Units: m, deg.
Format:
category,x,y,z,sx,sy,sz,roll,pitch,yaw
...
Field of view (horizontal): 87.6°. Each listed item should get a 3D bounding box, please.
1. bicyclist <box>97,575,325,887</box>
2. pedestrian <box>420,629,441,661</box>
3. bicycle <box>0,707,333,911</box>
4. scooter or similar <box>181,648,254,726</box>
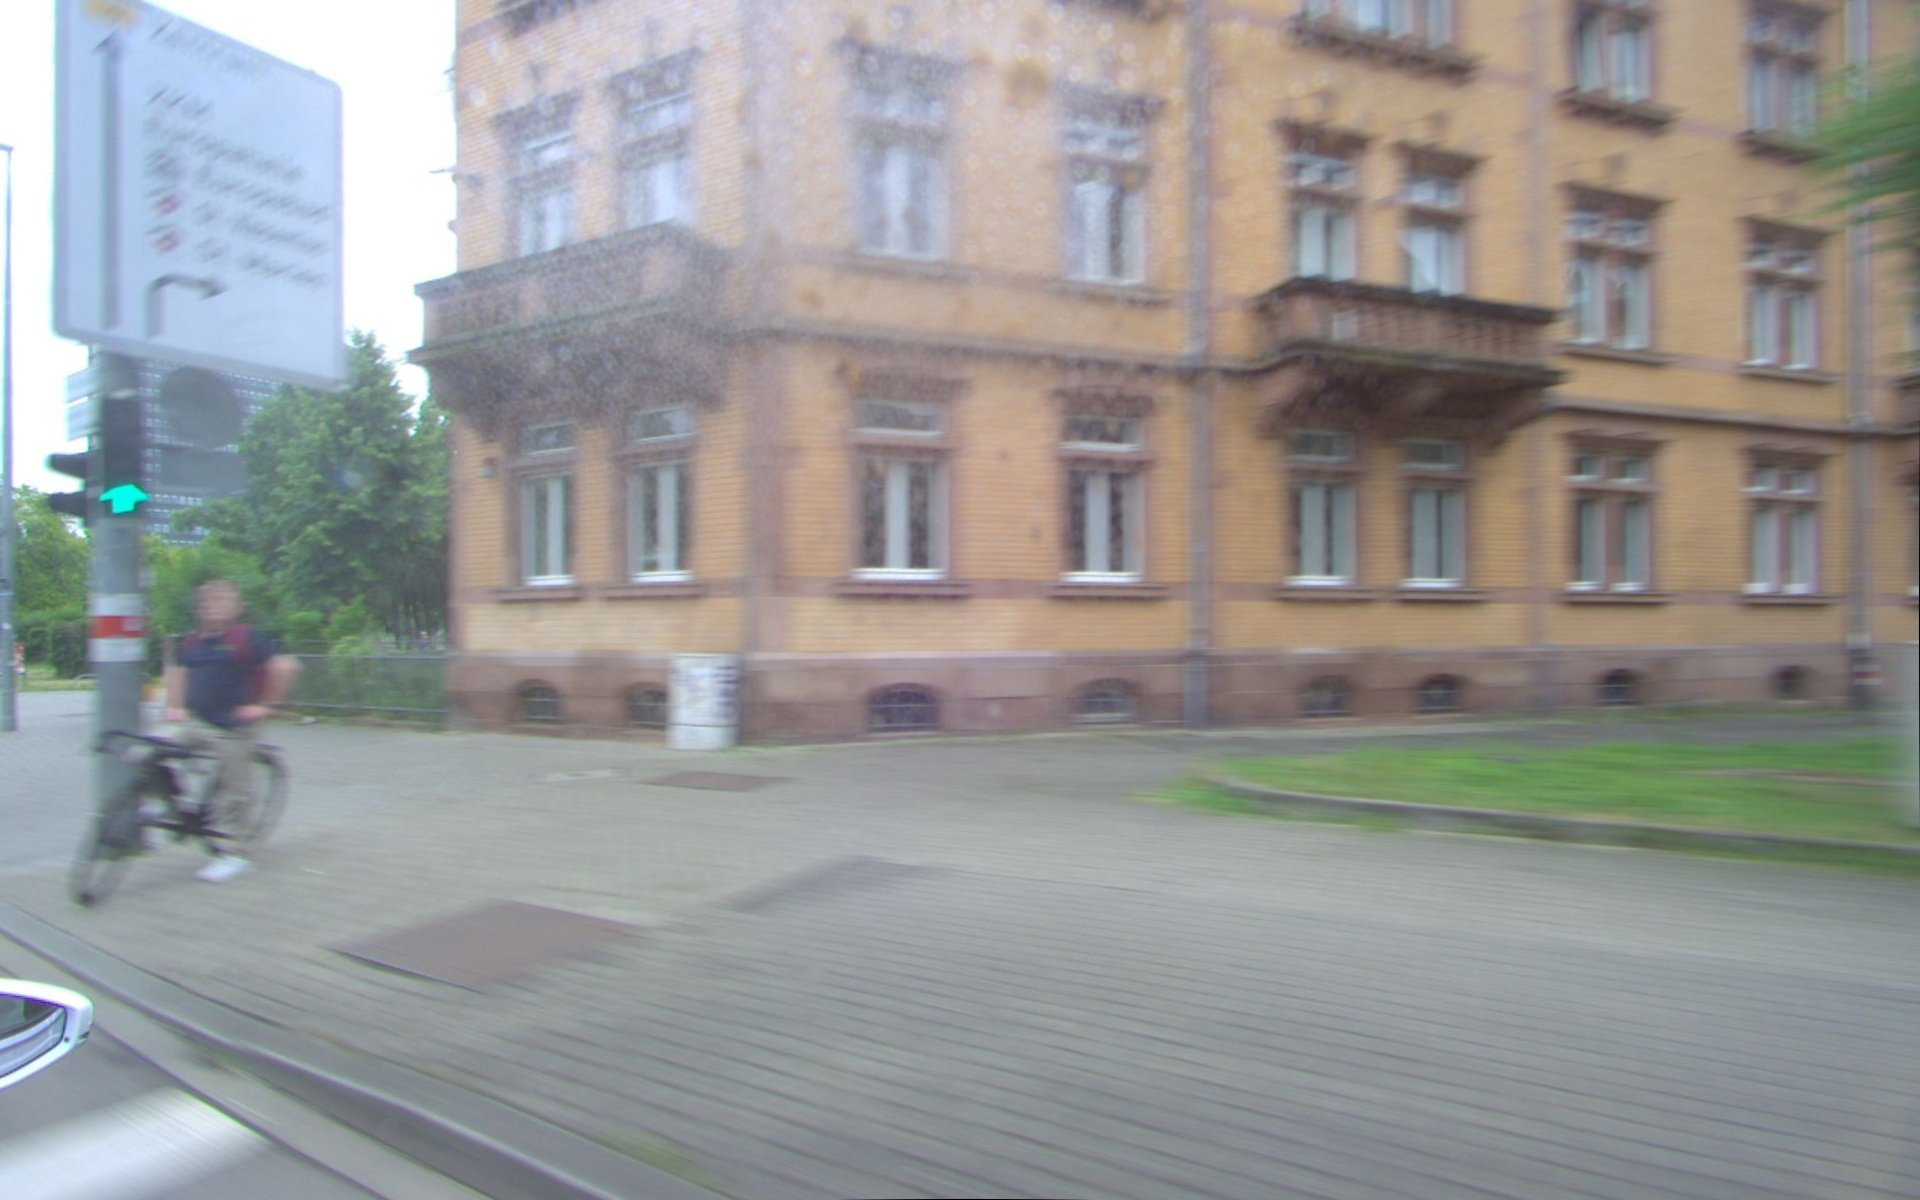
category,x,y,z,sx,sy,sz,roll,pitch,yaw
bicyclist,-4.618,0.781,6.234,0.874,1.818,0.682,1,-1,-5
pedestrian,-20.141,1.700,38.087,0.581,1.198,0.626,0,-1,-15
bicycle,-4.808,1.199,6.209,0.781,0.935,1.869,1,-2,-5
scooter or similar,-11.472,1.324,15.476,1.179,1.155,0.376,0,-1,24
